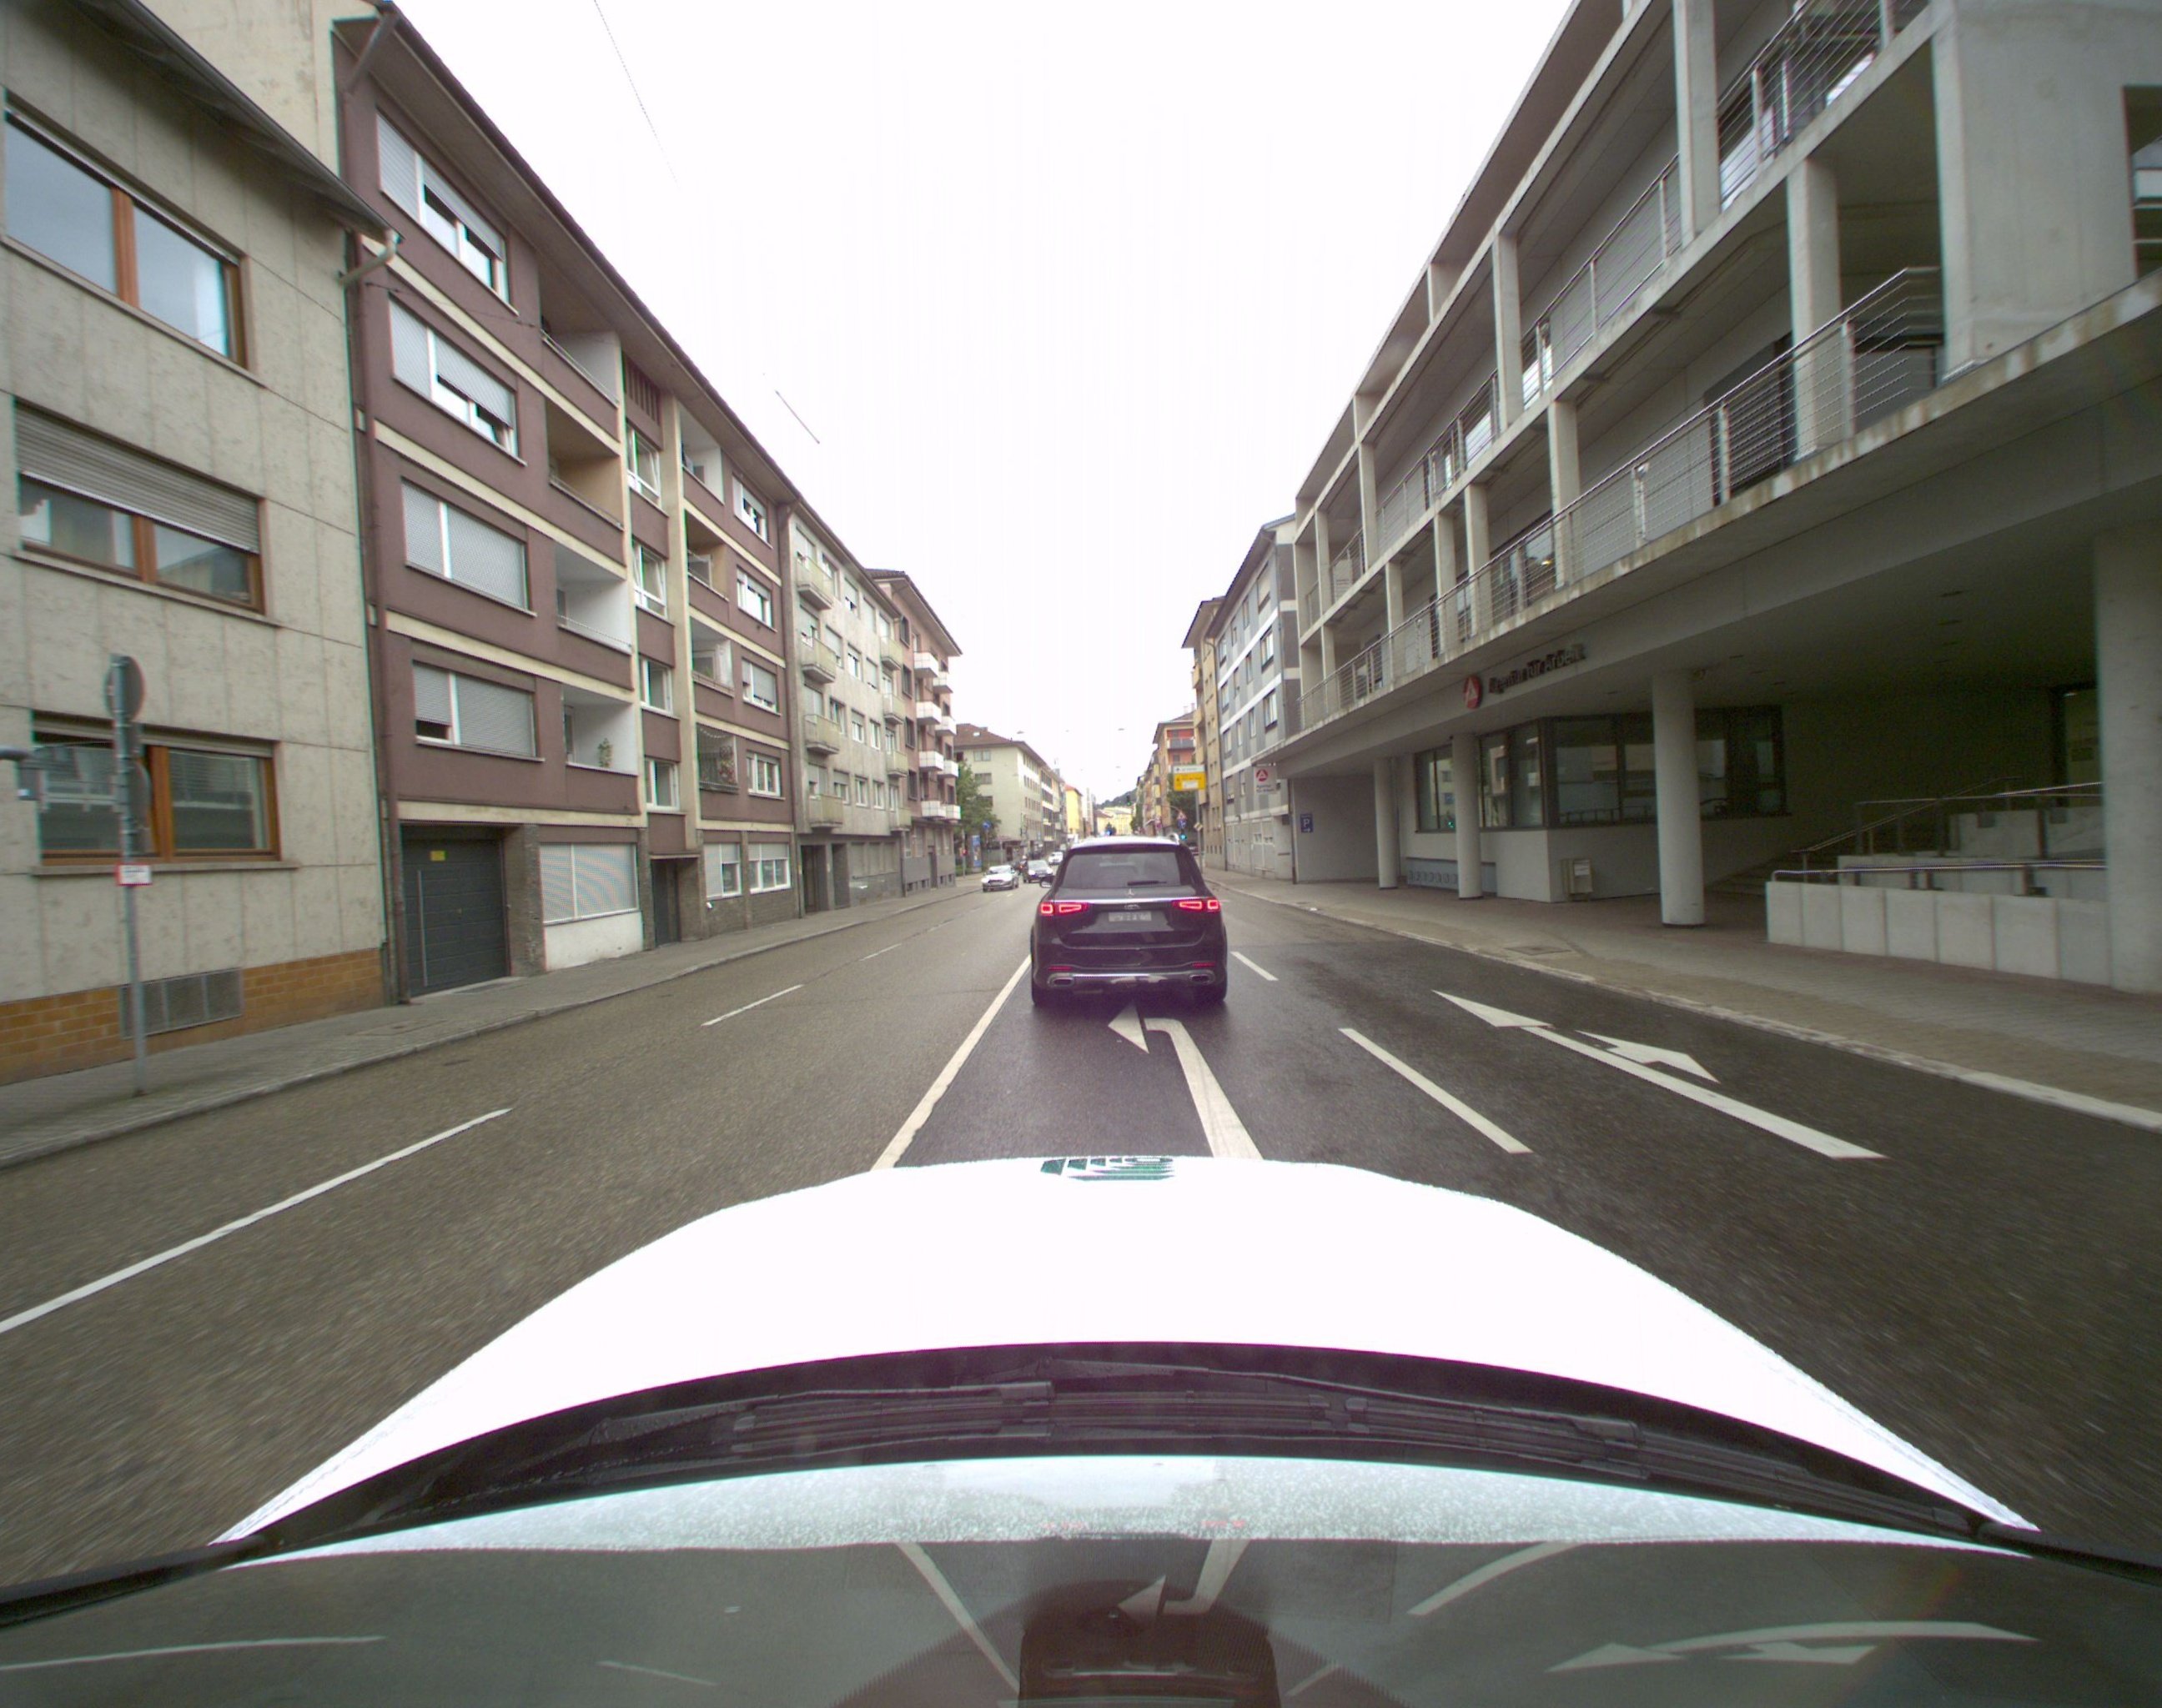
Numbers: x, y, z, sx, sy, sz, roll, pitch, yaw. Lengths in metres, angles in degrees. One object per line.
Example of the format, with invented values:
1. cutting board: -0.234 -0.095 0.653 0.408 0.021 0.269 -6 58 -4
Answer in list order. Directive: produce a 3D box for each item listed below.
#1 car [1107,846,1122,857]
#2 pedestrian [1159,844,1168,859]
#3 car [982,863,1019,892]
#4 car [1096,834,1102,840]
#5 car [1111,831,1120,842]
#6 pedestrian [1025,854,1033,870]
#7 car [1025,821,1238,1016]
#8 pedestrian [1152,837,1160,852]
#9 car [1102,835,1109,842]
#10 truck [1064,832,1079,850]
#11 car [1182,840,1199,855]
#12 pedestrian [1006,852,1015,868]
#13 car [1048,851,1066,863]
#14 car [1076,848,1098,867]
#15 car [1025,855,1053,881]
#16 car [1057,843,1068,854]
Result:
1. car: 4.699 -0.296 114.145 1.987 1.351 4.001 -4 0 1
2. pedestrian: 10.239 -0.336 101.502 0.920 1.804 0.706 -3 0 0
3. car: -4.829 1.398 49.301 1.767 1.539 4.356 -4 -1 -1
4. car: 5.353 -5.041 248.005 1.613 1.539 4.216 -4 -1 0
5. car: 7.300 -3.735 173.687 1.718 1.760 4.216 -4 -3 0
6. pedestrian: -5.926 0.895 92.607 0.630 1.764 0.777 -3 0 20
7. car: 0.541 0.631 9.813 1.977 1.805 4.391 0 -1 2
8. pedestrian: 10.083 -1.242 109.123 0.920 2.013 0.706 -3 0 0
9. car: 6.301 -4.037 208.126 1.613 1.539 4.216 -4 -1 0
10. truck: -1.762 -2.447 154.975 2.472 3.046 9.916 -4 -1 0
11. car: 12.347 -0.731 92.143 1.664 1.588 3.334 -3 0 4
12. pedestrian: -8.674 0.694 100.045 0.920 1.902 0.706 -3 0 0
13. car: -2.878 0.331 98.632 1.879 1.264 4.216 -4 -1 -1
14. car: 0.538 0.333 71.472 1.766 1.539 4.359 -4 -1 1
15. car: -3.155 1.002 60.308 1.770 1.645 4.403 -5 1 -6
16. car: -2.962 -0.910 129.554 1.613 1.539 4.216 -4 -1 0
